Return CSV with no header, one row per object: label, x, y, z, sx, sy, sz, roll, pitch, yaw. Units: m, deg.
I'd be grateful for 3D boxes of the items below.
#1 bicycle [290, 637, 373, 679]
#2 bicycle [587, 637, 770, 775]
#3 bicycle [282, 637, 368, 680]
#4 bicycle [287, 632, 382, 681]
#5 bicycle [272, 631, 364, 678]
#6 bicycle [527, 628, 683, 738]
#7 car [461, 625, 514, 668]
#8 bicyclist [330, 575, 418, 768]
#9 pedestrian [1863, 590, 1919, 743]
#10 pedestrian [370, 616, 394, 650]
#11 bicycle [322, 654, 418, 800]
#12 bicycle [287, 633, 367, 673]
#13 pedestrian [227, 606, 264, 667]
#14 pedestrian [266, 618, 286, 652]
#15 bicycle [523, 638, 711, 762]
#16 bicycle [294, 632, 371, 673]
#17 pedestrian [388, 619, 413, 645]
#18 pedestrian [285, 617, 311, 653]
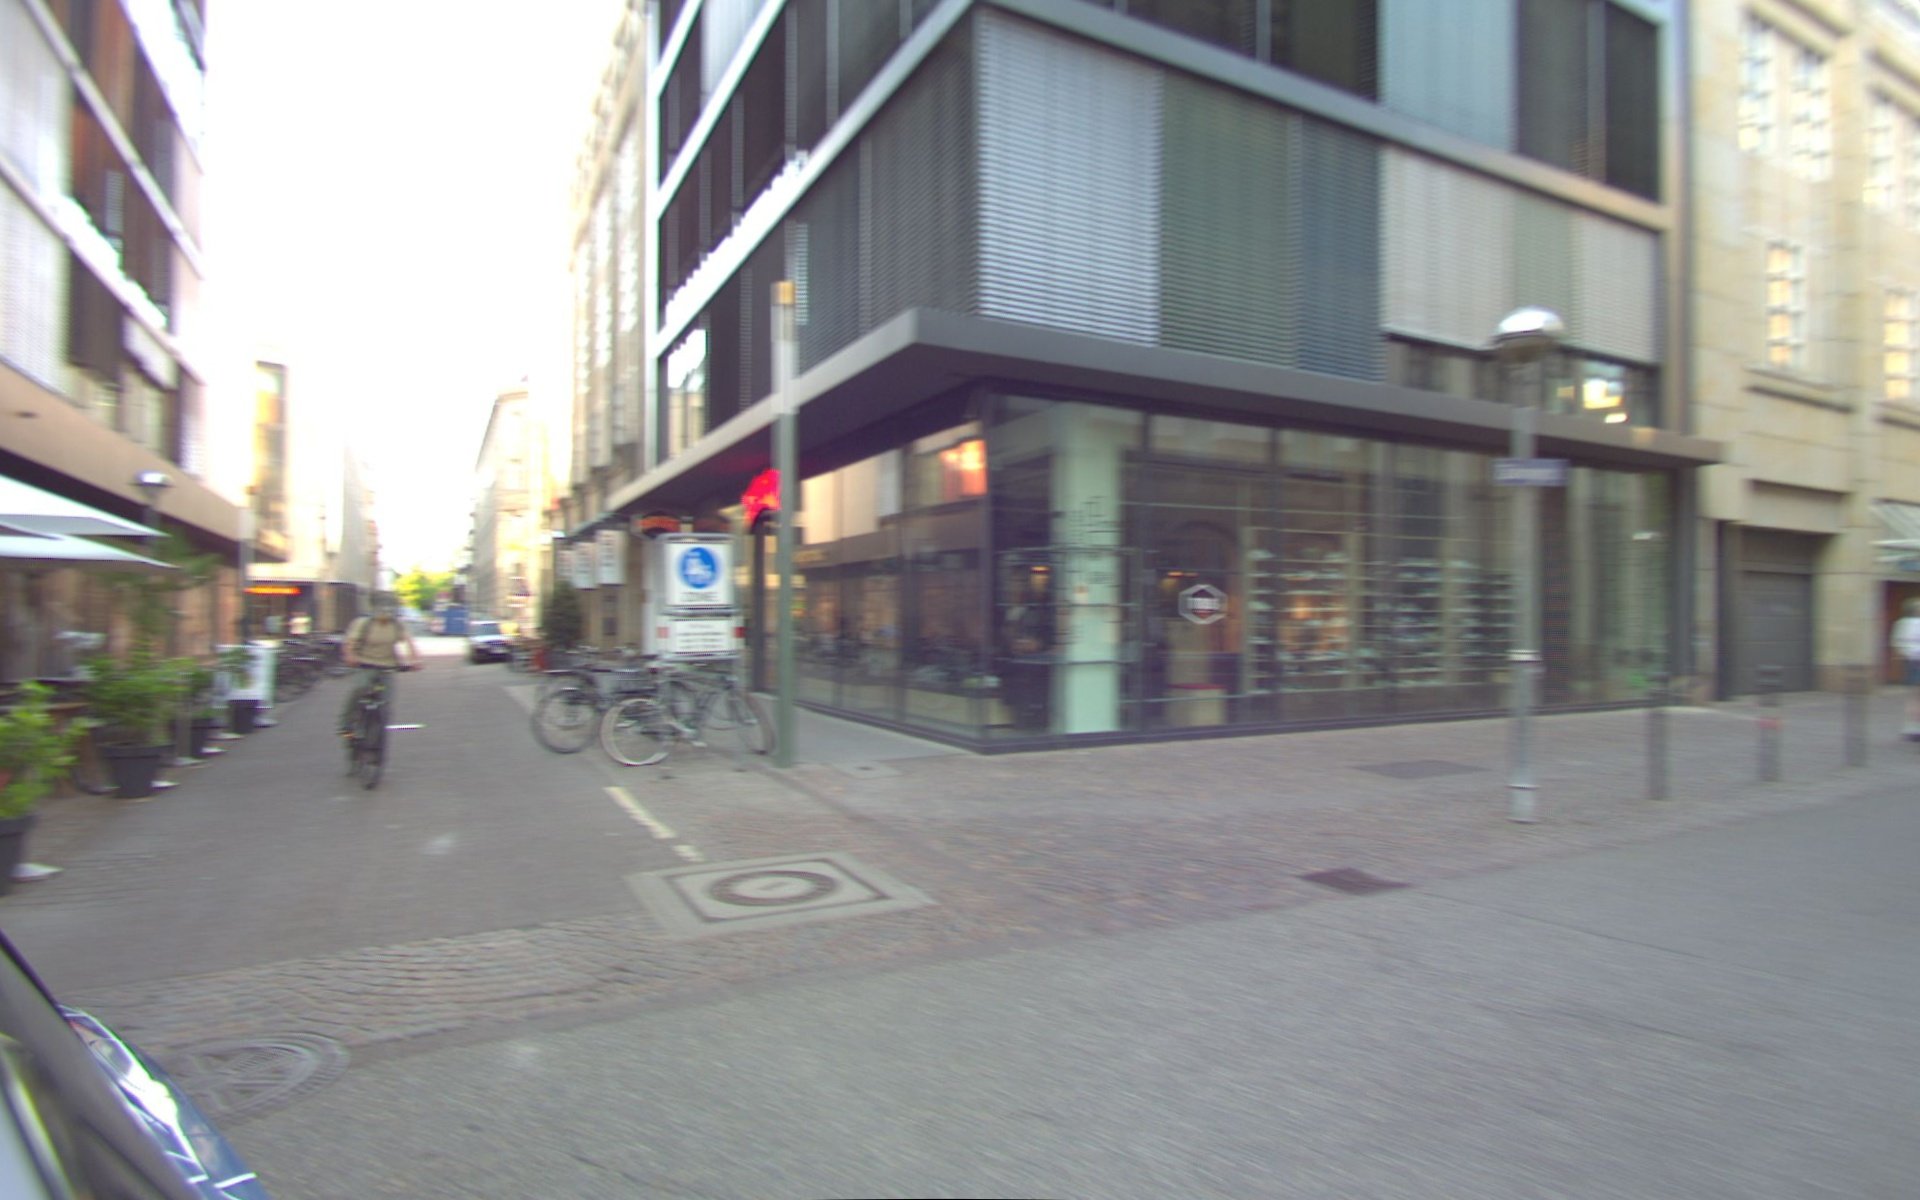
bicycle,-18.341,1.679,29.575,2.005,1.176,0.621,1,-2,-28
bicycle,-2.775,1.004,10.015,1.642,1.213,0.511,-1,-1,-28
bicycle,-17.892,1.633,28.563,2.005,1.176,0.621,1,-2,-28
bicycle,-16.237,1.475,26.344,2.005,1.176,0.668,4,-3,-28
bicycle,-17.404,1.491,27.505,2.005,1.176,0.621,4,-3,-28
bicycle,-4.784,1.086,13.674,1.871,1.279,0.540,-3,0,-27
car,-16.462,1.585,35.392,1.576,1.434,3.616,1,-1,-24
bicyclist,-5.418,0.636,9.395,0.664,1.683,0.872,1,-2,-28
pedestrian,11.594,0.793,12.173,0.600,1.804,0.913,1,-2,-30
pedestrian,-28.967,1.637,50.694,0.663,1.650,0.760,0,-1,19
bicycle,-5.420,1.104,9.383,0.688,1.137,2.011,1,-2,-28
bicycle,-19.218,1.587,30.762,2.005,1.176,0.621,1,-2,-28
pedestrian,-21.884,1.121,31.017,0.790,1.850,0.677,1,-2,-26
pedestrian,-31.364,1.615,46.424,0.626,1.536,0.784,2,-1,-42
bicycle,-3.773,1.064,11.186,1.871,1.190,0.519,-2,-2,-29
bicycle,-19.695,1.630,31.812,2.005,1.225,0.621,1,-2,-28
pedestrian,-33.682,1.925,60.911,0.912,1.584,0.988,-1,-1,16
pedestrian,-30.929,1.639,47.314,0.775,1.633,0.633,0,-1,14
